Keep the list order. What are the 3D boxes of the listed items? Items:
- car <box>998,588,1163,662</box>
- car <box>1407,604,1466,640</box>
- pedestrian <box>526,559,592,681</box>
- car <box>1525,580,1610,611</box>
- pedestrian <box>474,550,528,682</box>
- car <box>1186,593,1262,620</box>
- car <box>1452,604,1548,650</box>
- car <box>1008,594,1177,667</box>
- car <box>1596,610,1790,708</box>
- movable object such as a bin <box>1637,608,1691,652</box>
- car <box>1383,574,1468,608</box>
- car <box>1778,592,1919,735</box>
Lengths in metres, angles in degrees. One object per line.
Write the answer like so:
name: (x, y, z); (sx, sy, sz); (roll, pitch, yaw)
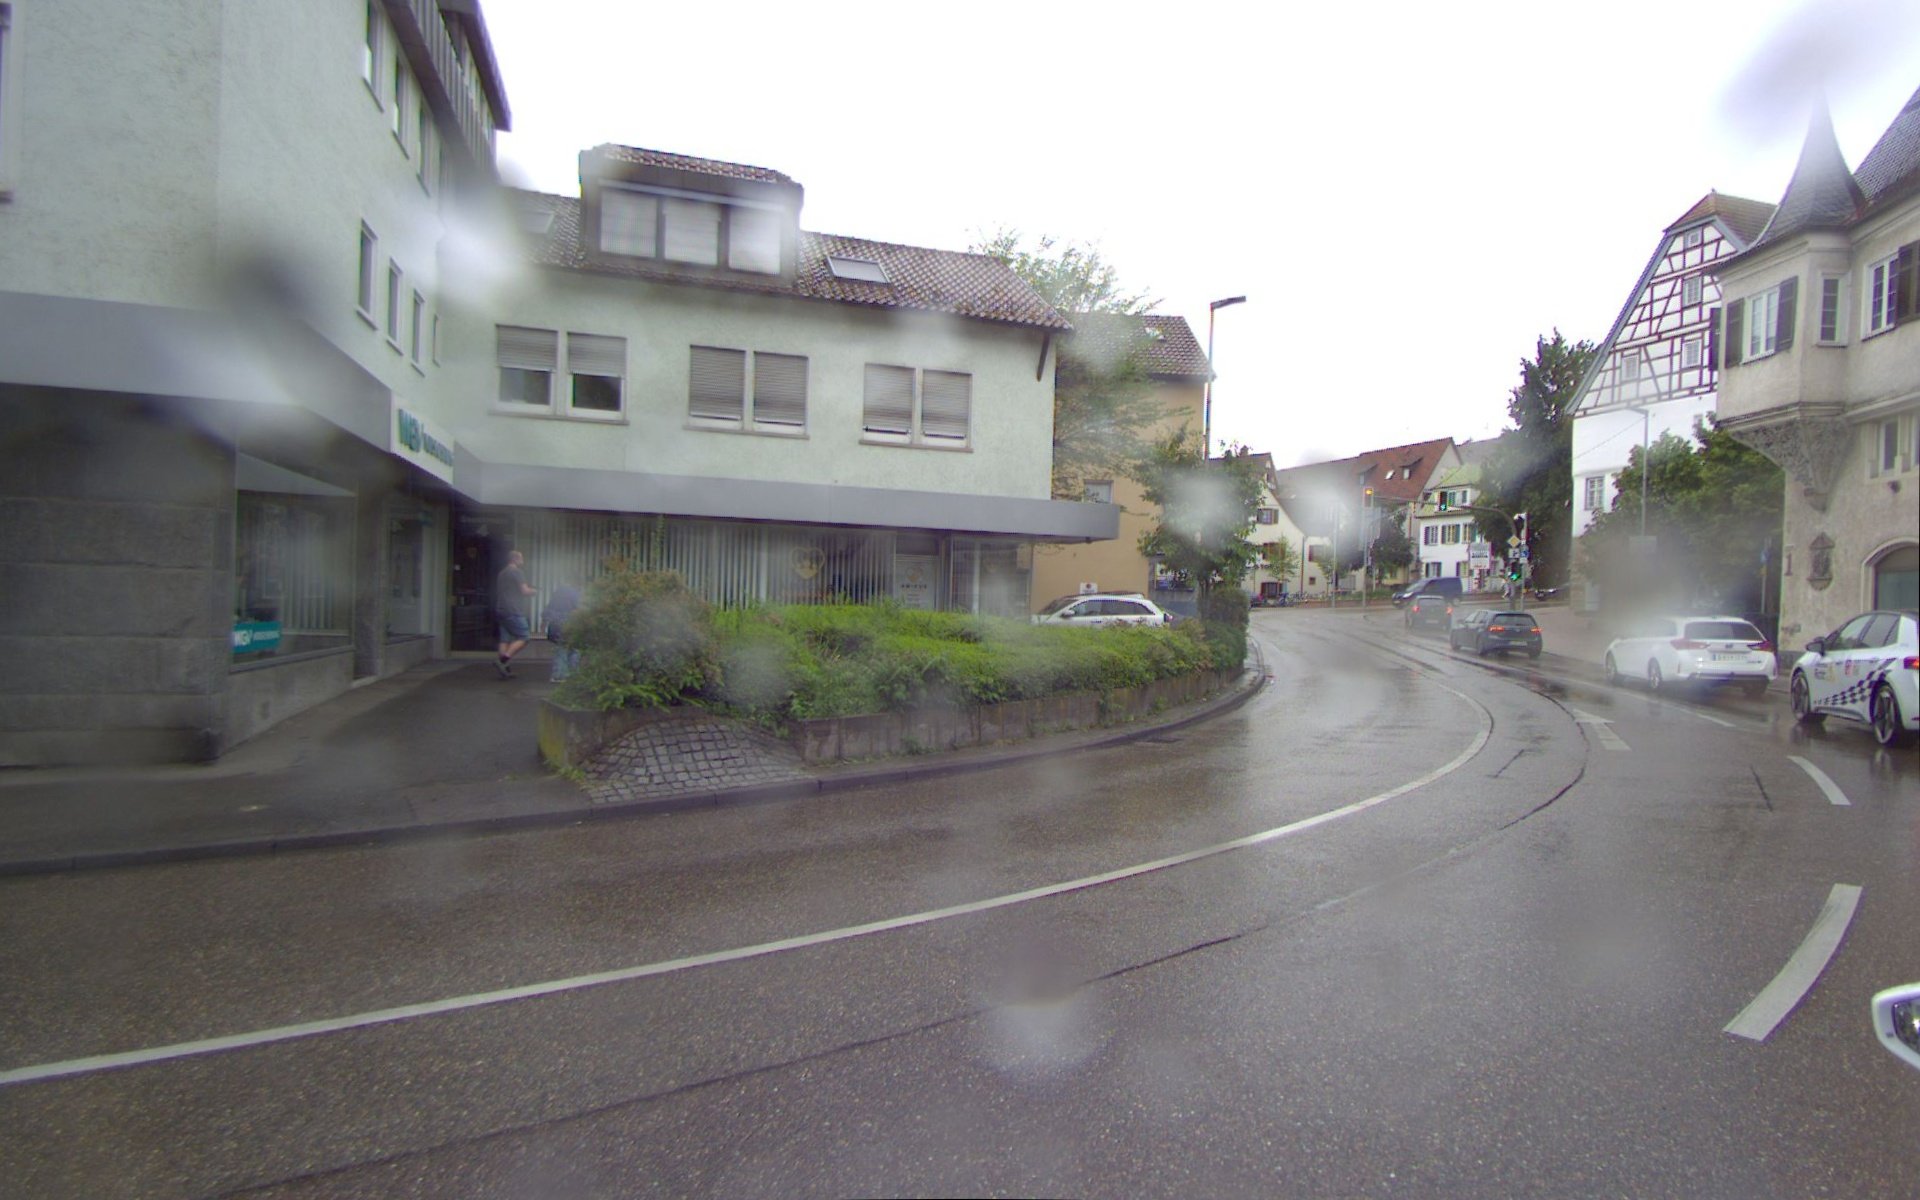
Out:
car: (3.777, 0.755, 31.998); (4.840, 1.850, 1.961); (-4, 3, -4)
car: (21.679, 0.962, 45.638); (1.564, 1.544, 3.416); (2, 1, 40)
pedestrian: (-5.768, 0.281, 14.453); (0.850, 1.694, 0.614); (1, 1, -23)
car: (38.722, -0.309, 64.116); (4.296, 1.907, 1.997); (1, 2, -7)
pedestrian: (-6.579, 0.219, 14.420); (0.663, 1.844, 0.614); (1, 1, -23)
car: (16.657, 0.426, 63.546); (4.404, 1.566, 1.865); (1, -1, 7)
car: (17.361, 0.831, 32.482); (1.960, 1.319, 4.001); (1, 0, 17)
car: (3.151, 0.716, 24.294); (3.581, 1.651, 1.995); (1, 0, -12)
car: (14.243, 1.044, 19.829); (1.854, 1.617, 4.326); (1, 0, 19)
movable object such as a bin: (22.568, 0.955, 32.240); (1.135, 1.330, 1.186); (1, 1, 21)
car: (28.581, -0.548, 61.692); (4.296, 1.907, 1.998); (1, 1, -7)
car: (11.506, 0.685, 11.927); (1.827, 1.492, 3.996); (1, 0, 25)
